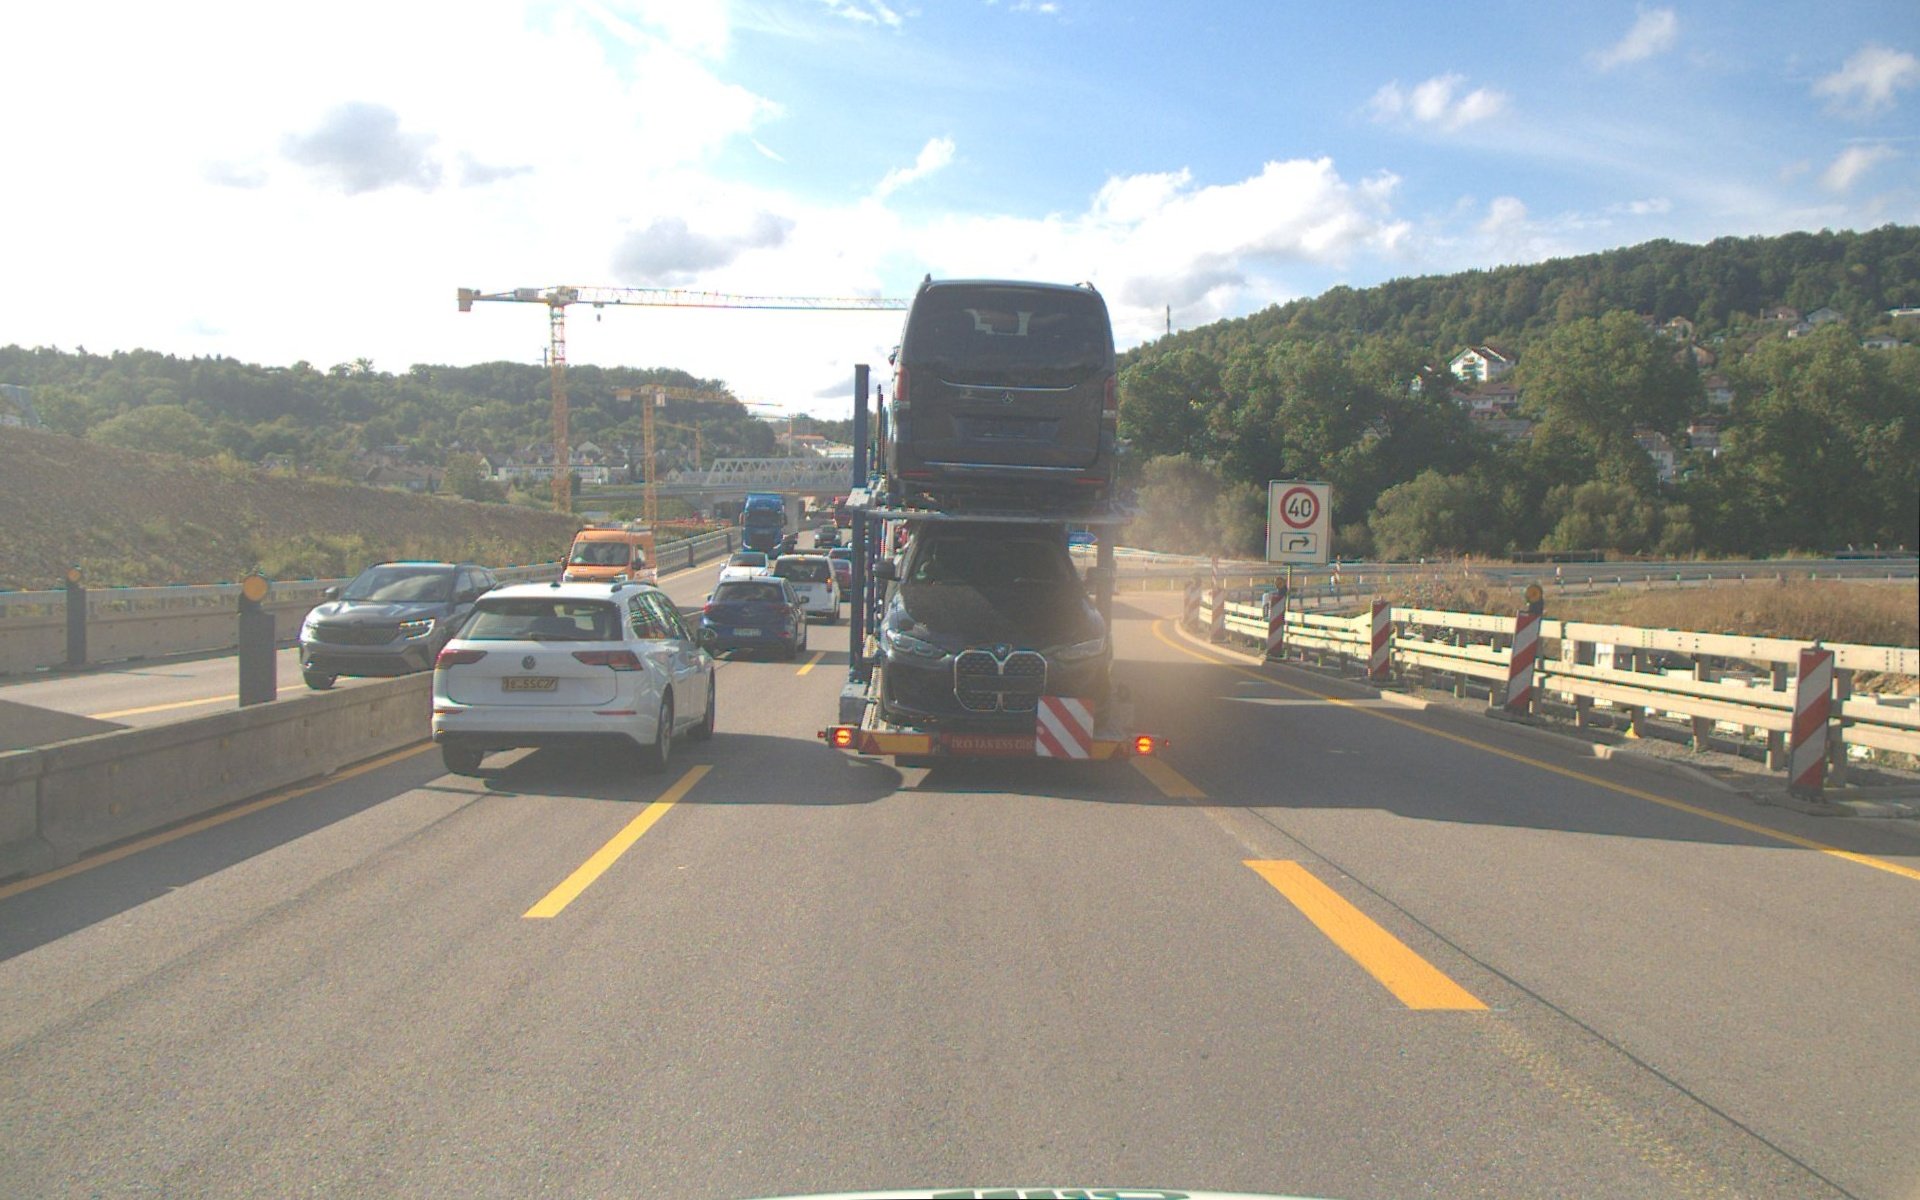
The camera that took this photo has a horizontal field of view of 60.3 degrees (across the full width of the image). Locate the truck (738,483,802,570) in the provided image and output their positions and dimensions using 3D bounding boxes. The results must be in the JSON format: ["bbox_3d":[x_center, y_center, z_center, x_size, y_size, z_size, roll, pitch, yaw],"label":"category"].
[{"bbox_3d":[-12.524,-4.723,110.186,2.764,4.872,13.051,1,-1,-1],"label":"truck"}]

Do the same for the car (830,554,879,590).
[{"bbox_3d":[-4.769,-1.293,75.248,1.953,1.579,4.000,1,1,0],"label":"car"}]

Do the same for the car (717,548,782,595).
[{"bbox_3d":[-8.067,-1.068,63.731,1.953,1.713,4.000,1,0,0],"label":"car"}]

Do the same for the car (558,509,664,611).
[{"bbox_3d":[-10.677,-1.189,51.081,1.953,2.930,6.064,1,0,0],"label":"car"}]

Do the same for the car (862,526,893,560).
[{"bbox_3d":[-5.669,-3.928,114.577,1.953,2.049,3.999,1,-1,-1],"label":"car"}]

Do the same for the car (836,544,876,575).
[{"bbox_3d":[-5.855,-2.276,93.533,1.953,1.695,4.000,1,1,0],"label":"car"}]

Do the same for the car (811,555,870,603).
[{"bbox_3d":[-4.394,-0.736,61.350,1.953,1.584,4.399,1,-1,-2],"label":"car"}]

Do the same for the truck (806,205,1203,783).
[{"bbox_3d":[0.113,-0.835,21.253,2.697,4.023,18.885,2,0,-1],"label":"truck"}]

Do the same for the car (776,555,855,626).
[{"bbox_3d":[-3.960,-0.222,45.771,1.785,1.824,3.999,1,-1,0],"label":"car"}]

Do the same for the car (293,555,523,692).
[{"bbox_3d":[-7.439,0.291,22.720,1.807,1.677,4.235,1,0,-2],"label":"car"}]

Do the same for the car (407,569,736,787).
[{"bbox_3d":[-3.071,0.555,14.039,1.734,1.517,4.516,1,0,-1],"label":"car"}]

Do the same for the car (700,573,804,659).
[{"bbox_3d":[-3.749,0.246,30.354,1.688,1.446,3.996,1,1,-5],"label":"car"}]
